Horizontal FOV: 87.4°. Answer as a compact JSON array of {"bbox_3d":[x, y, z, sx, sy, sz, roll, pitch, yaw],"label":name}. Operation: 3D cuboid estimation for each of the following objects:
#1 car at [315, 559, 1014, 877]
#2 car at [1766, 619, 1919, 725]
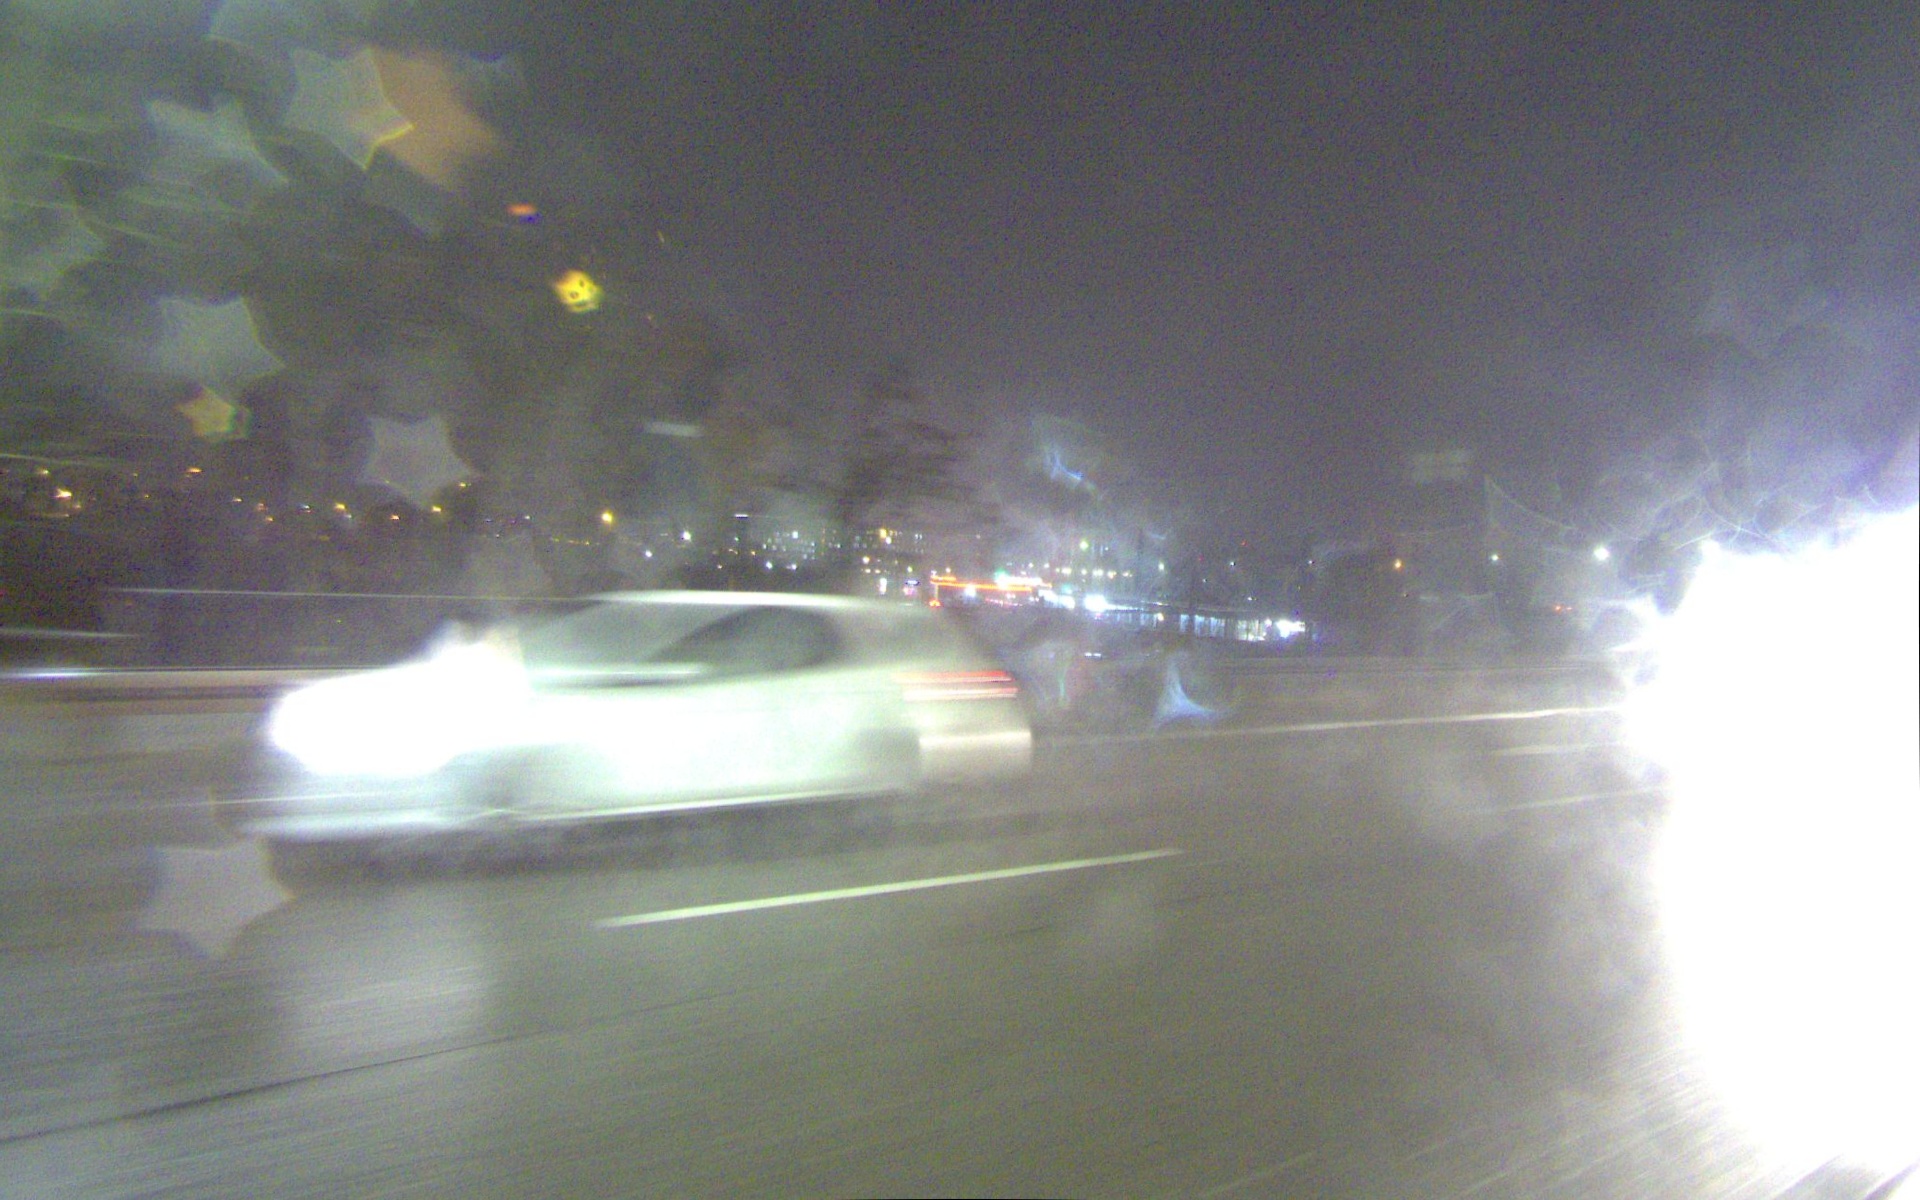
[{"bbox_3d":[-1.776,0.593,6.548,3.899,1.537,1.759,1,0,-28],"label":"car"},{"bbox_3d":[14.553,1.051,15.799,4.175,1.446,1.756,2,-1,-34],"label":"car"}]
